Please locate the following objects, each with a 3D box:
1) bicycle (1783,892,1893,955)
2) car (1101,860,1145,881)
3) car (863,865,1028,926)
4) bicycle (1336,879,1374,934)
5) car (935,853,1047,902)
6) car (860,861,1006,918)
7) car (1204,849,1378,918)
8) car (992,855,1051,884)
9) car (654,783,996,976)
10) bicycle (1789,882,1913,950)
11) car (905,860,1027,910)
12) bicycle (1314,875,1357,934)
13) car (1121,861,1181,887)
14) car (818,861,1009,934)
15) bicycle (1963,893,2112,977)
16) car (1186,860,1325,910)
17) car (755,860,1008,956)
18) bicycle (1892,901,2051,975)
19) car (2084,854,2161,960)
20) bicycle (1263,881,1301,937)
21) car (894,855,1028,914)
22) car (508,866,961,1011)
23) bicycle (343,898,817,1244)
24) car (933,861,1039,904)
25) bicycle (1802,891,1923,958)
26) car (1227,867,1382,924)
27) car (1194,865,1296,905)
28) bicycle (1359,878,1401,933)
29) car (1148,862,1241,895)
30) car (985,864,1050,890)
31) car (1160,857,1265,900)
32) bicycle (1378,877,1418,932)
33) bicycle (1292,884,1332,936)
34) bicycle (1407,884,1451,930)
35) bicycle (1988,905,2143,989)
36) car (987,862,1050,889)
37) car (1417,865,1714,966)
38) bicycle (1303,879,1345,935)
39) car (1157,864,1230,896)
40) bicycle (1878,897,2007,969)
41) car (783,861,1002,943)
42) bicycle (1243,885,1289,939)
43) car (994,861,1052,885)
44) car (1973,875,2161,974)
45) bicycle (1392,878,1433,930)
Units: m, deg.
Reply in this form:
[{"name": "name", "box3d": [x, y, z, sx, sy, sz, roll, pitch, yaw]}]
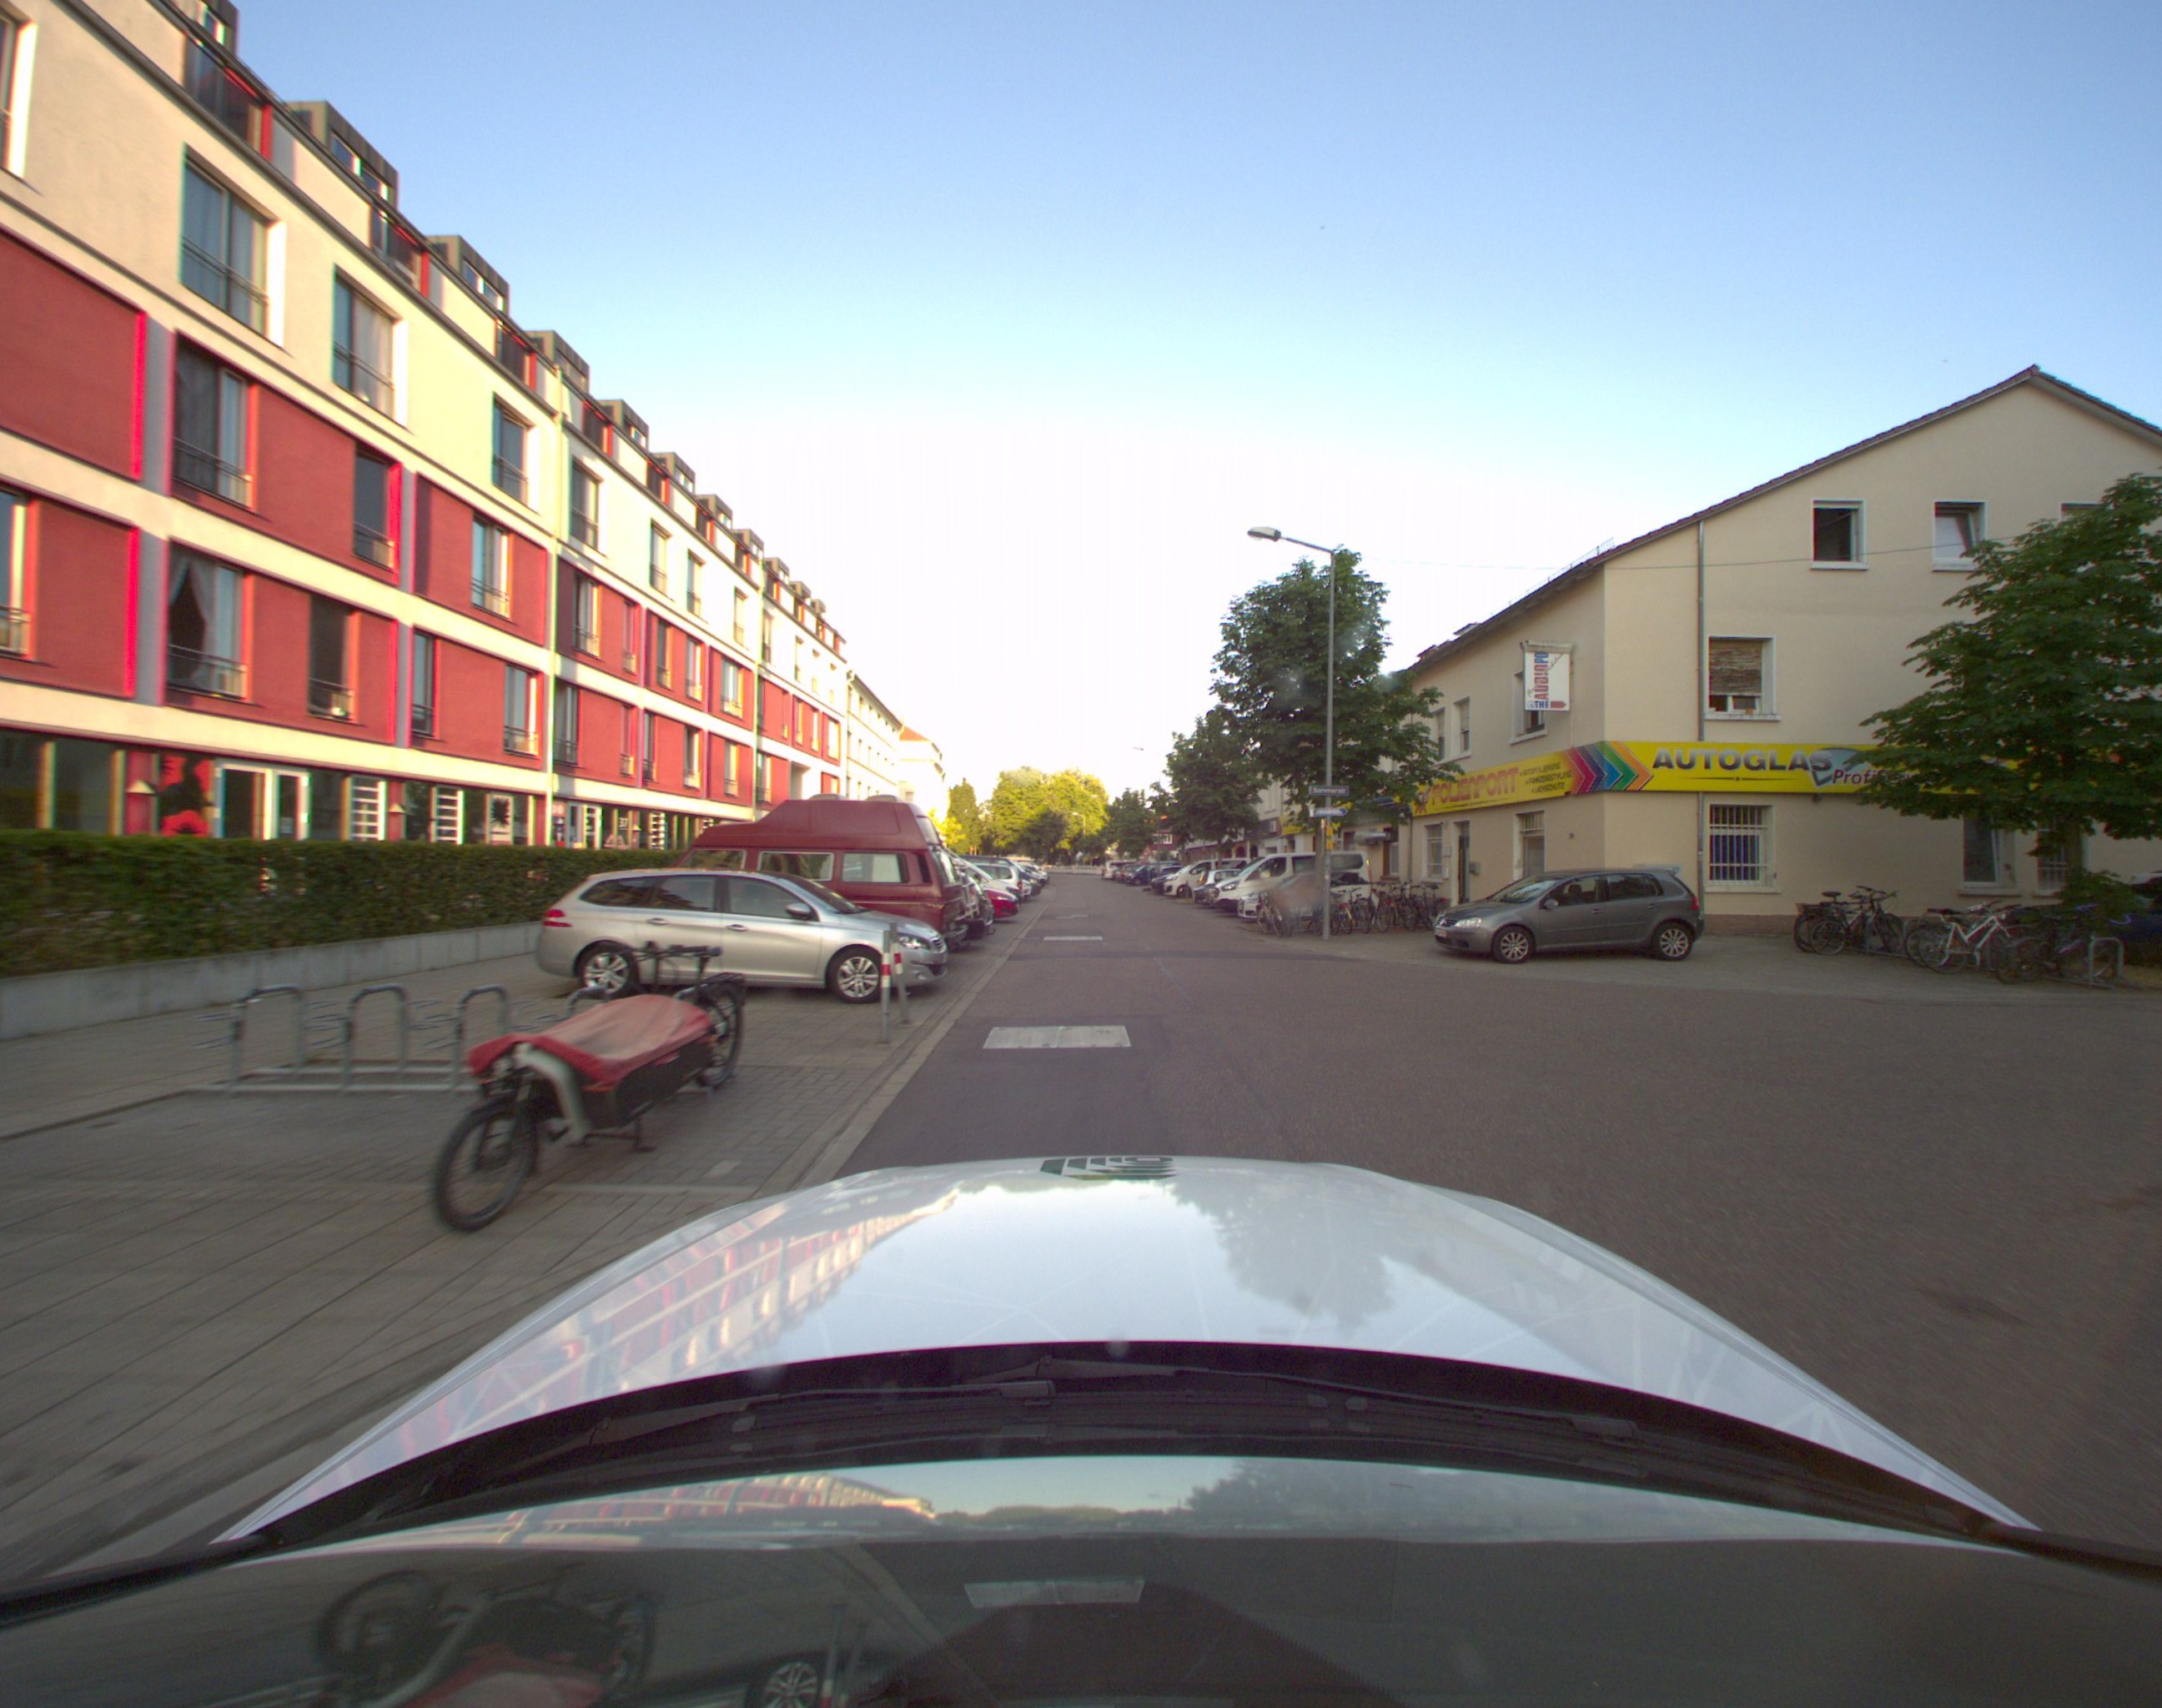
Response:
[{"name": "bicycle", "box3d": [13.259, 1.218, 14.283, 1.598, 1.019, 0.343, 2, 1, -1]}, {"name": "car", "box3d": [4.053, 1.586, 79.261, 3.961, 1.912, 2.046, -1, -1, -5]}, {"name": "car", "box3d": [-3.678, 1.118, 22.698, 4.195, 1.490, 1.850, 2, -1, 0]}, {"name": "bicycle", "box3d": [6.375, 1.192, 19.020, 0.384, 1.200, 1.481, -1, -1, 1]}, {"name": "car", "box3d": [-4.088, 1.069, 37.501, 4.835, 2.021, 1.906, 2, -1, 0]}, {"name": "car", "box3d": [-4.554, 1.092, 25.678, 4.198, 1.616, 1.998, 2, -1, -2]}, {"name": "car", "box3d": [6.619, 0.909, 26.098, 4.973, 1.983, 2.219, -2, -1, 0]}, {"name": "car", "box3d": [-4.762, 1.248, 66.000, 4.519, 2.134, 2.000, 2, -1, 0]}, {"name": "car", "box3d": [-3.736, 0.373, 12.533, 4.495, 2.584, 2.001, 2, -1, 1]}, {"name": "bicycle", "box3d": [13.986, 1.124, 14.810, 1.853, 1.149, 0.344, 2, 1, 1]}, {"name": "car", "box3d": [-4.233, 1.139, 30.522, 4.243, 1.660, 2.000, 2, -1, 0]}, {"name": "bicycle", "box3d": [5.957, 1.153, 19.176, 0.384, 1.304, 2.017, -1, -1, 1]}, {"name": "car", "box3d": [5.460, 1.530, 63.697, 4.471, 1.912, 1.685, -1, -1, -5]}, {"name": "car", "box3d": [-3.971, 1.024, 19.924, 4.198, 1.575, 1.998, 2, -1, -2]}, {"name": "bicycle", "box3d": [13.598, 1.152, 11.583, 1.917, 1.128, 0.427, 1, 0, -8]}, {"name": "car", "box3d": [6.633, 1.164, 31.438, 4.927, 1.742, 2.049, -2, -1, 0]}, {"name": "car", "box3d": [-3.539, 0.955, 15.093, 4.198, 1.538, 1.789, 2, -1, -2]}, {"name": "bicycle", "box3d": [13.312, 1.249, 12.191, 1.843, 1.010, 0.428, 2, 1, 1]}, {"name": "car", "box3d": [19.811, 0.939, 13.044, 1.867, 1.831, 4.576, 0, 0, -1]}, {"name": "bicycle", "box3d": [4.703, 1.249, 19.143, 0.384, 1.200, 2.017, -1, -1, 1]}, {"name": "car", "box3d": [-4.060, 1.032, 28.119, 4.243, 1.836, 2.000, 2, -1, 0]}, {"name": "car", "box3d": [-3.900, 0.958, 9.880, 4.605, 1.460, 1.878, 2, -1, -4]}, {"name": "bicycle", "box3d": [-2.445, 0.934, 4.653, 0.804, 1.221, 2.866, 2, -1, 2]}, {"name": "car", "box3d": [-4.030, 1.220, 34.943, 4.243, 1.652, 1.887, 2, -1, 0]}, {"name": "bicycle", "box3d": [13.356, 1.195, 13.935, 1.726, 1.070, 0.343, 2, 1, -1]}, {"name": "car", "box3d": [6.333, 1.143, 23.306, 3.909, 1.451, 1.766, -2, -1, -3]}, {"name": "car", "box3d": [6.801, 1.287, 34.069, 3.898, 1.526, 1.939, -2, -1, 1]}, {"name": "bicycle", "box3d": [6.951, 1.174, 18.989, 0.443, 1.200, 1.481, -1, -1, 1]}, {"name": "car", "box3d": [6.357, 1.388, 46.196, 4.931, 1.689, 2.075, -1, -1, -2]}, {"name": "car", "box3d": [-4.302, 1.553, 55.846, 4.244, 1.622, 1.999, 2, -1, -1]}, {"name": "car", "box3d": [6.599, 1.222, 41.257, 4.931, 1.958, 2.048, -1, -1, -2]}, {"name": "bicycle", "box3d": [7.379, 1.144, 18.981, 0.352, 1.200, 1.481, -1, -1, 1]}, {"name": "bicycle", "box3d": [5.412, 1.283, 19.177, 0.384, 1.114, 2.017, -1, -1, 1]}, {"name": "bicycle", "box3d": [8.144, 1.223, 19.108, 0.386, 1.017, 1.481, -1, -1, 1]}, {"name": "bicycle", "box3d": [13.420, 1.262, 11.106, 1.848, 1.075, 0.427, 1, 1, -8]}, {"name": "car", "box3d": [-4.458, 1.539, 58.520, 4.243, 1.715, 2.000, 2, -1, 0]}, {"name": "car", "box3d": [8.111, 0.999, 13.901, 4.036, 1.514, 1.757, -1, 1, 1]}, {"name": "bicycle", "box3d": [5.696, 1.220, 19.165, 0.384, 1.200, 2.017, -1, -1, 1]}, {"name": "car", "box3d": [7.007, 1.617, 51.099, 4.305, 1.804, 1.809, -1, -1, -2]}, {"name": "bicycle", "box3d": [13.440, 1.226, 12.720, 1.596, 1.041, 0.344, 2, 1, 1]}, {"name": "car", "box3d": [-3.988, 0.991, 17.657, 4.188, 1.538, 1.845, 2, -1, 6]}, {"name": "bicycle", "box3d": [4.286, 1.315, 18.954, 0.437, 1.130, 2.013, -1, -1, -5]}, {"name": "car", "box3d": [-4.487, 1.478, 63.334, 4.243, 1.750, 2.000, 2, -1, 0]}, {"name": "car", "box3d": [17.581, 1.109, 12.942, 1.736, 1.509, 4.569, 0, -1, -2]}, {"name": "bicycle", "box3d": [7.740, 1.153, 19.063, 0.352, 1.143, 1.481, -1, -1, 1]}]
